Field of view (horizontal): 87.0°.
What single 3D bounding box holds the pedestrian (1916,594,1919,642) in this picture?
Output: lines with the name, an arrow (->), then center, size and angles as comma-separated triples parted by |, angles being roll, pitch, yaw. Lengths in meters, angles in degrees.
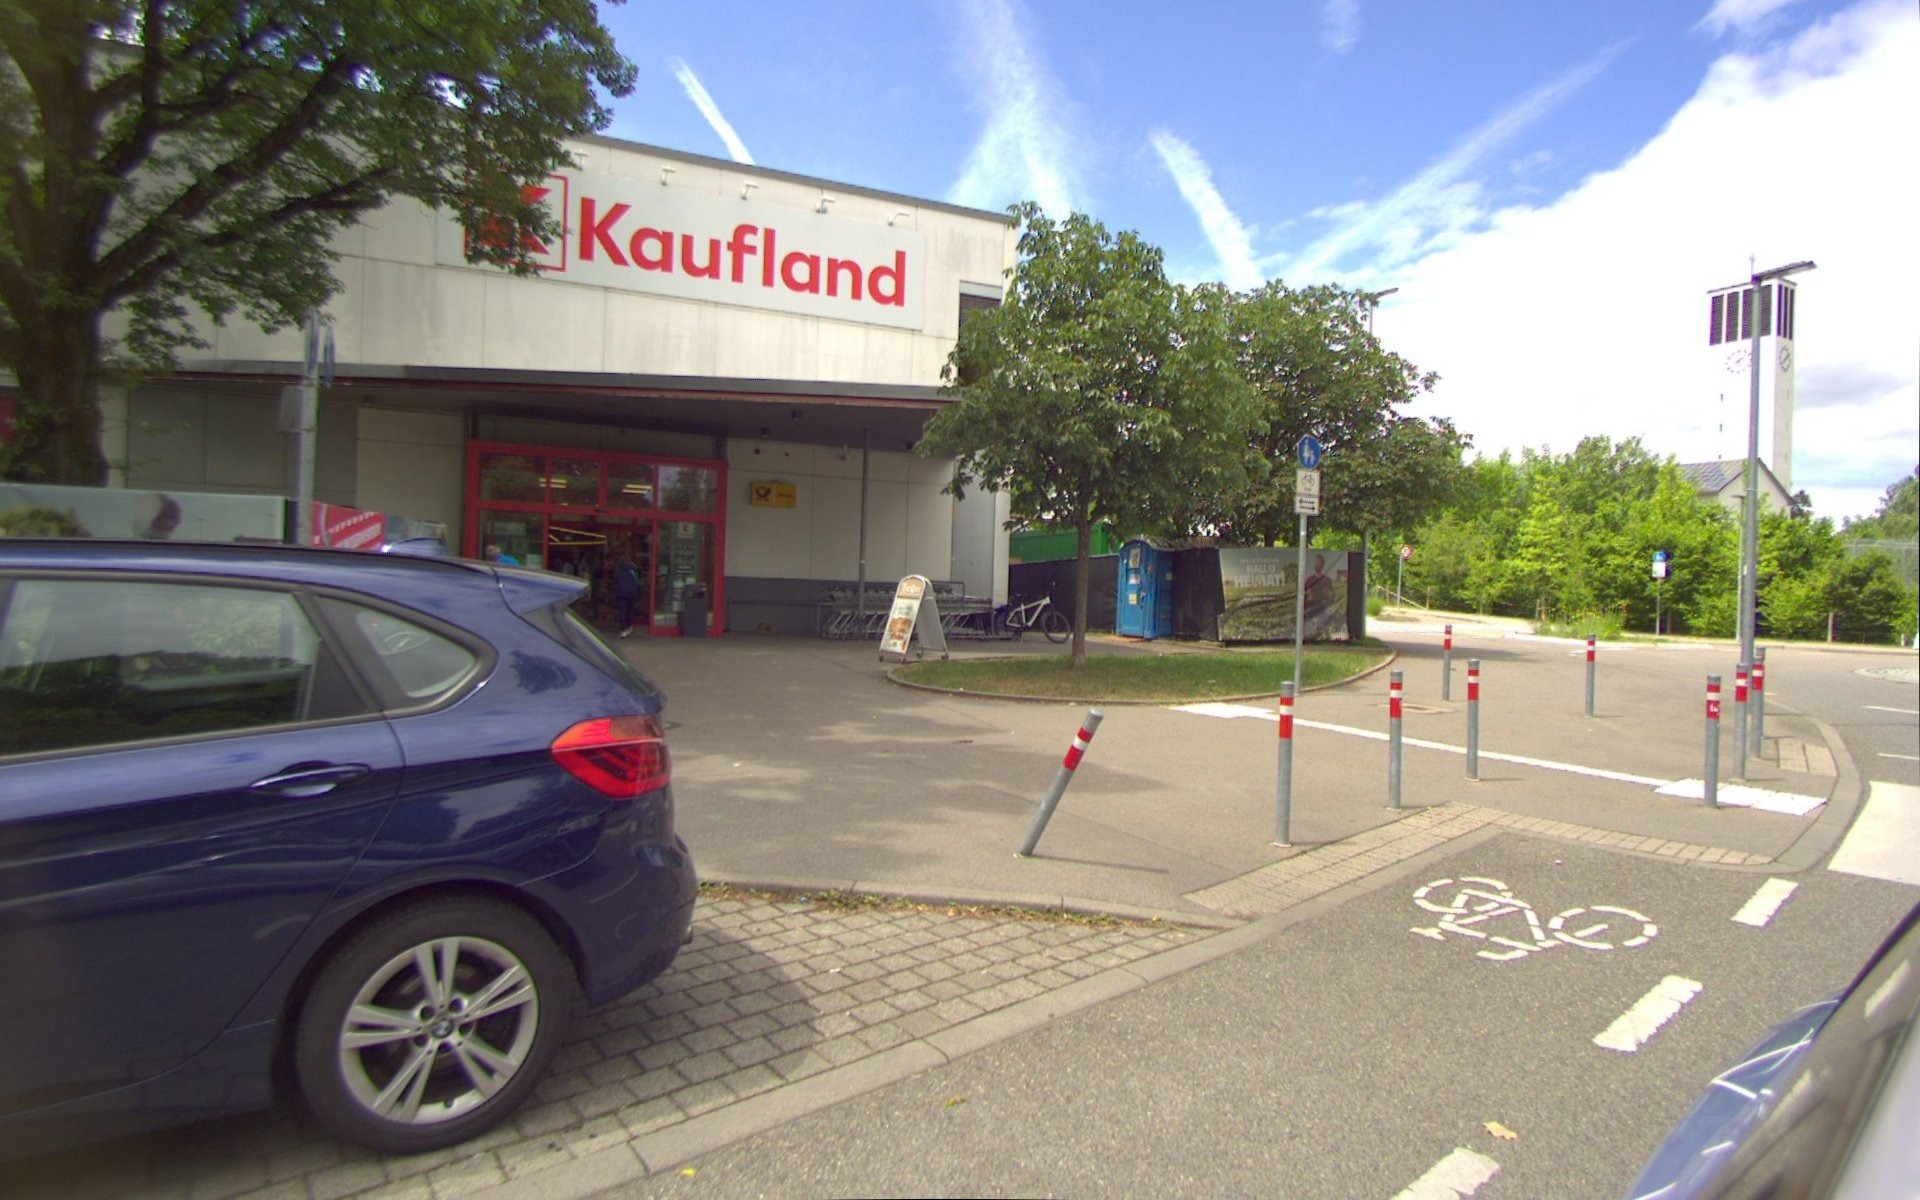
pedestrian -> 31.825, 0.600, 33.038 | 0.943, 1.553, 0.459 | 2, 0, -14

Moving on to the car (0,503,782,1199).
car -> -2.893, 0.551, 2.708 | 4.343, 1.597, 1.925 | 0, 2, -32

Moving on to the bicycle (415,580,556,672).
bicycle -> -6.186, 0.331, 13.269 | 1.627, 1.170, 0.427 | 1, 0, -20

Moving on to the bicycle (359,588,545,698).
bicycle -> -5.517, 0.462, 11.047 | 1.737, 1.170, 0.502 | 1, 0, -6

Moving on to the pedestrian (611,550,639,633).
pedestrian -> -6.519, -0.162, 19.687 | 0.485, 1.586, 0.628 | 1, 0, -19

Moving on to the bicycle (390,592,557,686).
bicycle -> -5.810, 0.447, 12.143 | 1.764, 1.053, 0.522 | 0, 1, -27

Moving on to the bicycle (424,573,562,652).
bicycle -> -7.191, 0.190, 15.650 | 1.873, 1.170, 0.531 | 1, 0, -17

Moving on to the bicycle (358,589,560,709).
bicycle -> -5.009, 0.482, 10.194 | 1.754, 1.170, 0.452 | 1, 0, -10

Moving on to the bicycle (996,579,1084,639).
bicycle -> 1.710, 0.175, 21.685 | 1.761, 1.249, 0.706 | 1, 0, 35

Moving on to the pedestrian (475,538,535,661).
pedestrian -> -6.698, -0.020, 14.933 | 0.732, 1.778, 0.626 | 1, 3, -18

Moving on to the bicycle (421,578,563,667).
bicycle -> -6.399, 0.301, 13.916 | 1.730, 1.170, 0.441 | 1, 0, -22
